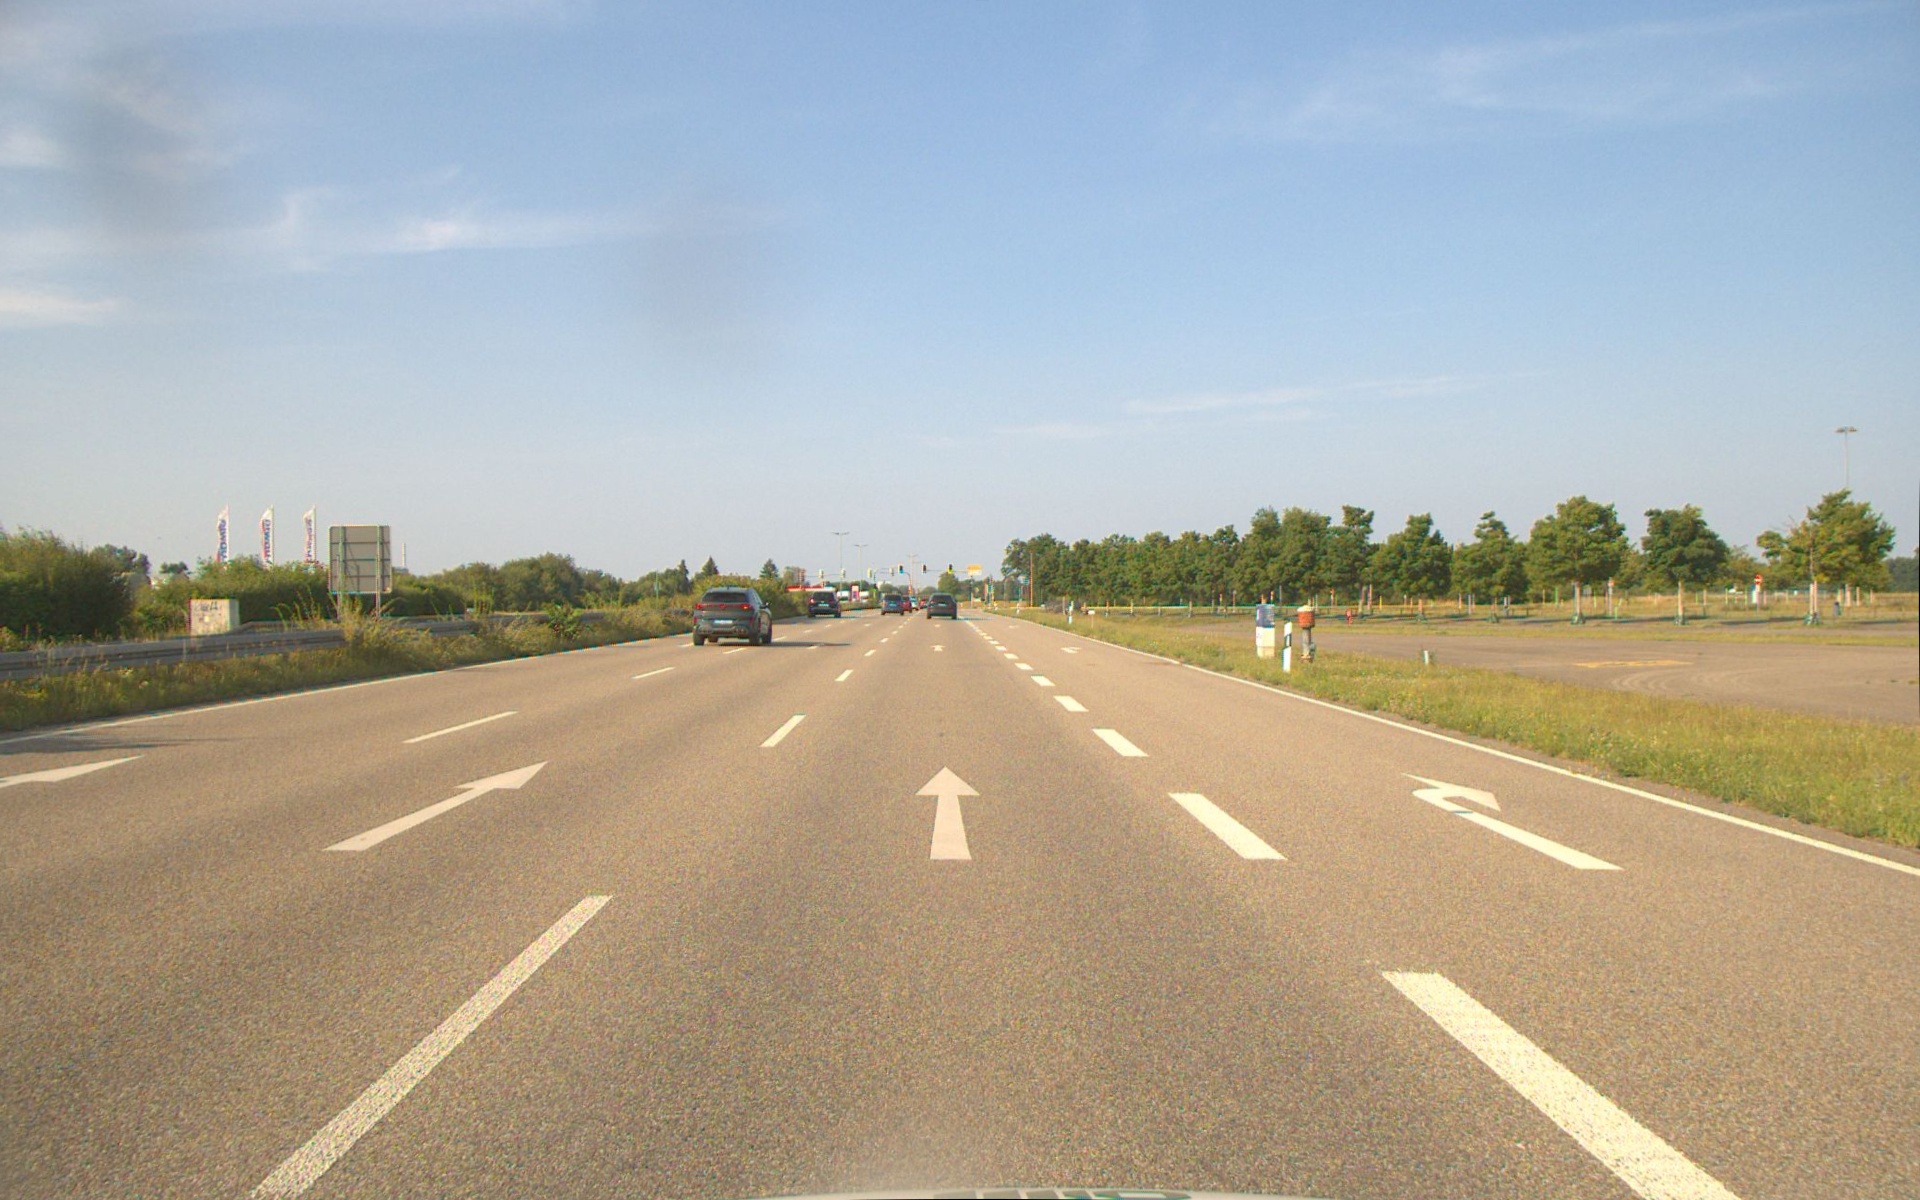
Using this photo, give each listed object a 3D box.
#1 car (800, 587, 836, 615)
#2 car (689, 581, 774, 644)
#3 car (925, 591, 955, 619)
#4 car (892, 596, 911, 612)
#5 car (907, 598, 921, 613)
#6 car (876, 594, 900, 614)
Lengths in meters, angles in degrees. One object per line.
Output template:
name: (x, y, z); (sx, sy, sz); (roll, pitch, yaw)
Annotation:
car: (-9.013, 0.074, 105.215); (1.893, 1.709, 4.400); (2, 0, -1)
car: (-6.399, 0.335, 46.728); (1.808, 1.640, 4.400); (2, 0, -1)
car: (-1.297, 0.290, 106.531); (1.893, 1.709, 4.400); (2, 0, -1)
car: (-5.528, 0.391, 156.824); (1.614, 1.489, 3.980); (2, 0, -1)
car: (-5.607, 0.688, 201.671); (1.612, 1.758, 3.400); (1, -1, -2)
car: (-5.690, 0.287, 130.910); (1.776, 1.489, 4.400); (2, 0, -1)
